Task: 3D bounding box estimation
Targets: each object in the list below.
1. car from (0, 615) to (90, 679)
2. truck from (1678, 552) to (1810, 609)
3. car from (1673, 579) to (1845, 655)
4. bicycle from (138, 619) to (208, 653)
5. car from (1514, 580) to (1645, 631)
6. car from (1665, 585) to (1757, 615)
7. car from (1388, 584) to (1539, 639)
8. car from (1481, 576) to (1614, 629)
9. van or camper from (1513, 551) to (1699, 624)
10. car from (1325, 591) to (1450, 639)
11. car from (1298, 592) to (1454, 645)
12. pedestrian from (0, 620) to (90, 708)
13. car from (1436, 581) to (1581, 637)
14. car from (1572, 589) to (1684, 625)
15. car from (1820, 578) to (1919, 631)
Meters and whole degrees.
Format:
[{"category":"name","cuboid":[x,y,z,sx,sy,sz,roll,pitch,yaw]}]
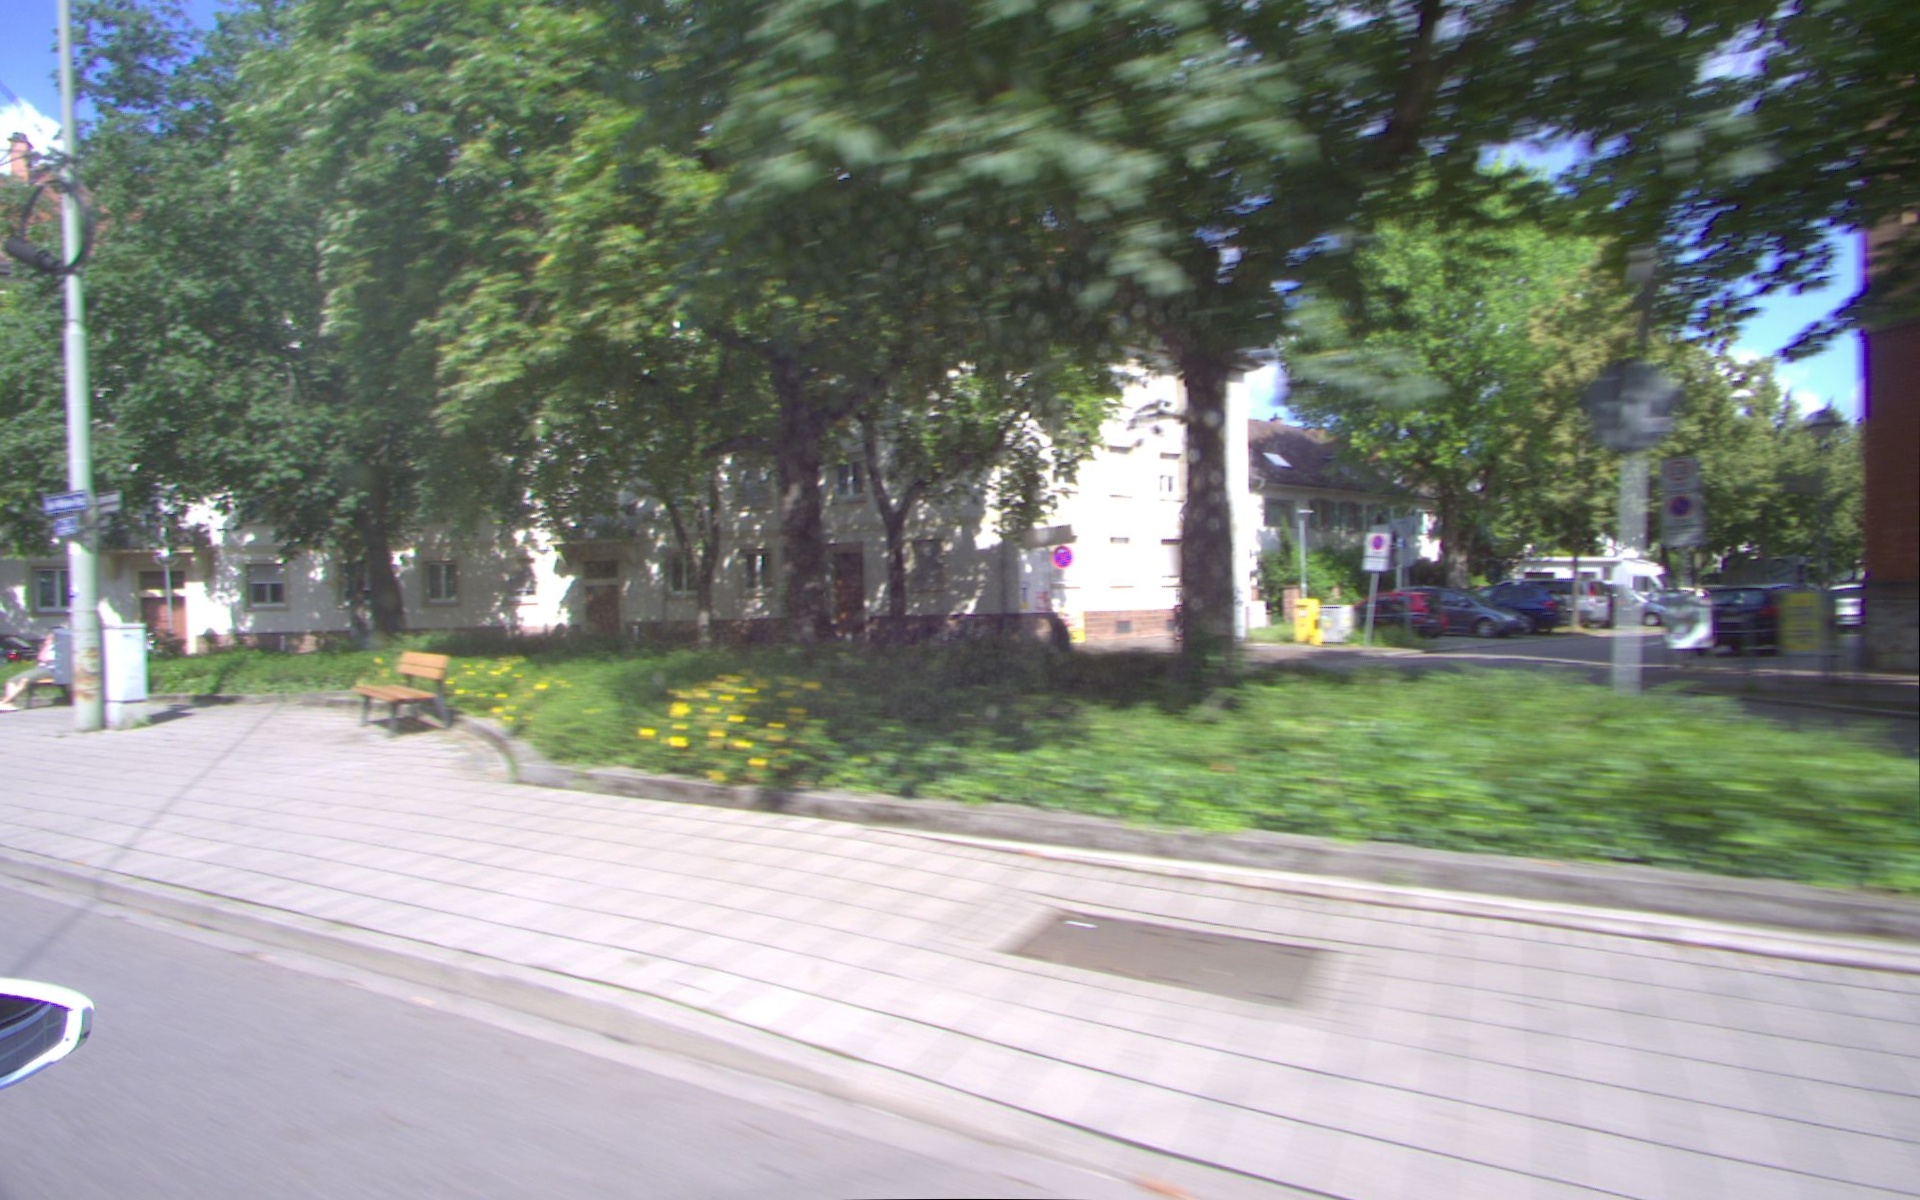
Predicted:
[{"category":"car","cuboid":[-25.161,1.204,25.479,4.099,1.530,1.847,-1,1,-19]},{"category":"truck","cuboid":[43.854,-1.047,56.159,1.976,2.972,5.511,-1,0,-38]},{"category":"car","cuboid":[17.324,0.327,21.672,3.949,1.505,1.923,-1,0,-36]},{"category":"bicycle","cuboid":[-25.759,1.159,32.789,1.720,1.034,0.566,-1,2,-8]},{"category":"car","cuboid":[24.483,0.239,39.660,1.975,1.906,3.971,-1,0,-36]},{"category":"car","cuboid":[39.189,0.017,52.337,1.518,1.415,3.576,1,-3,-37]},{"category":"car","cuboid":[16.601,0.378,33.178,1.832,1.706,4.090,-1,0,-42]},{"category":"car","cuboid":[22.129,0.118,37.814,1.827,1.884,3.966,-2,0,-41]},{"category":"van or camper","cuboid":[29.095,-0.482,45.376,2.098,3.078,6.776,-1,0,-40]},{"category":"car","cuboid":[13.740,0.486,32.280,1.546,1.441,3.383,-1,0,-42]},{"category":"car","cuboid":[12.419,0.561,30.044,1.783,1.461,3.964,-1,0,-42]},{"category":"pedestrian","cuboid":[-14.771,1.004,15.956,0.549,1.286,1.191,-1,2,24]},{"category":"car","cuboid":[18.928,0.327,34.654,1.956,1.817,3.967,-1,0,-40]},{"category":"car","cuboid":[28.230,0.314,42.402,1.515,1.416,3.637,-1,0,-38]},{"category":"car","cuboid":[27.867,0.116,30.370,3.949,1.505,1.858,-1,0,-36]}]
